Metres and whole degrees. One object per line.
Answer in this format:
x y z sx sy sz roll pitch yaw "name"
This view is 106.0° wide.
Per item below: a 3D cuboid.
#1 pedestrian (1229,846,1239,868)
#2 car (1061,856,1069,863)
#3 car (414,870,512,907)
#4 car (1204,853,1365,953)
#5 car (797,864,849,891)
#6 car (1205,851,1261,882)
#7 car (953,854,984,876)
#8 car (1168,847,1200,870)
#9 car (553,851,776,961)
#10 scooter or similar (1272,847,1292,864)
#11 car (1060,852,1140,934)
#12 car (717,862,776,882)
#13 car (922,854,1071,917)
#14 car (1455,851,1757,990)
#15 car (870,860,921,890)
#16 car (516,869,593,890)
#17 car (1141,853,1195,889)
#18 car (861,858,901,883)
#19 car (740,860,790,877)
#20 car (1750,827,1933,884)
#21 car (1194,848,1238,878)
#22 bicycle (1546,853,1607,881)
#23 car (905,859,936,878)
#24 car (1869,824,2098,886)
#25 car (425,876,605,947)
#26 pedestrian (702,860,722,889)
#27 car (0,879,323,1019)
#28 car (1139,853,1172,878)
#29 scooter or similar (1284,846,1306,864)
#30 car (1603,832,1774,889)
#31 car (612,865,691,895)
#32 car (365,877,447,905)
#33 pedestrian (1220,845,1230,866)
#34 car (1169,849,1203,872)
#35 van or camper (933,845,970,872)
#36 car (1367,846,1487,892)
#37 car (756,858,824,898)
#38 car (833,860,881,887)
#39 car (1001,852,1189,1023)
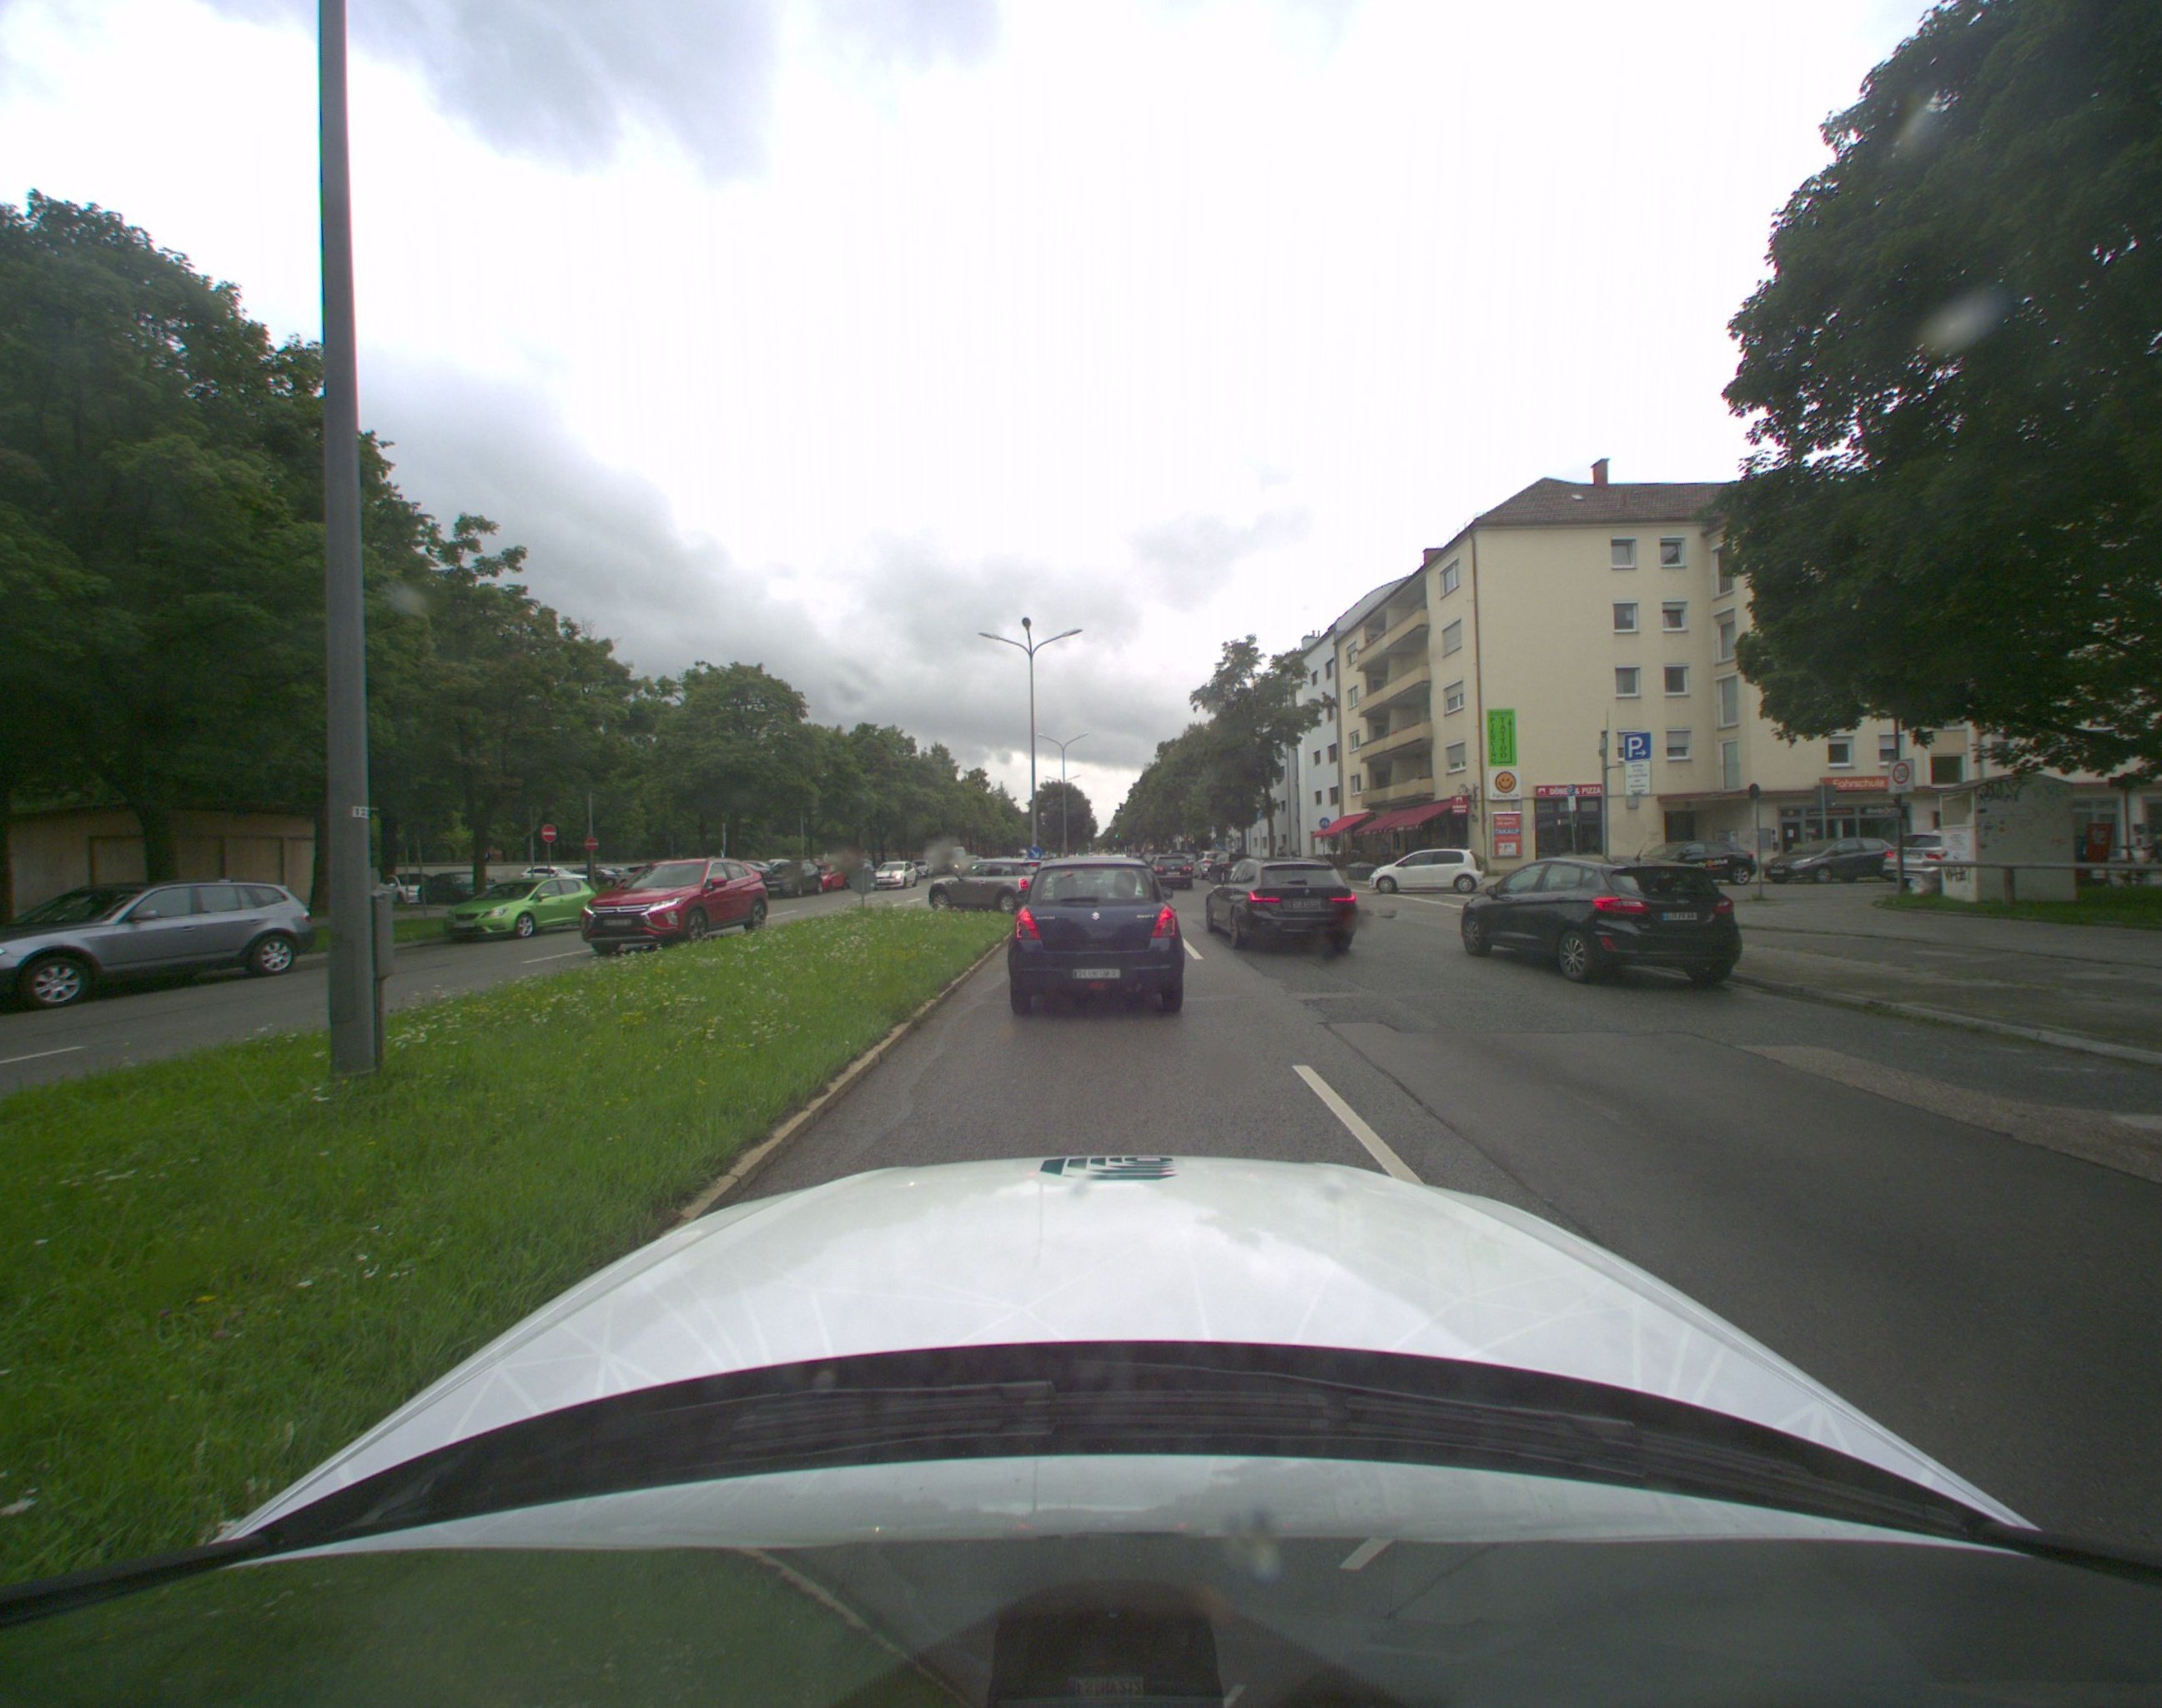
14.634 0.283 77.825 0.791 2.013 1.006 -1 0 2 "pedestrian"
-3.764 1.207 188.276 1.627 1.552 3.879 -1 0 1 "car"
-26.403 1.428 34.772 4.363 1.445 1.973 -1 -1 33 "car"
3.270 0.707 13.978 1.752 1.413 4.464 0 0 1 "car"
-13.540 1.220 42.927 1.585 1.312 3.381 -1 0 1 "car"
7.595 0.581 41.017 1.860 1.417 4.221 -2 0 -2 "car"
-9.194 0.906 66.999 1.760 1.623 4.507 -3 0 1 "car"
8.037 0.323 63.910 1.860 1.682 4.223 -2 0 0 "car"
-7.720 0.859 15.656 1.897 1.696 4.247 -4 0 2 "car"
16.508 0.097 67.034 1.029 1.307 2.756 -2 0 2 "scooter or similar"
0.366 0.714 16.628 1.439 1.483 3.106 -1 0 0 "car"
-25.676 1.390 62.616 3.859 1.445 1.670 -1 0 -4 "car"
-2.249 0.780 21.211 3.686 1.463 1.698 -1 0 38 "car"
6.434 0.708 10.509 1.611 1.465 3.675 0 0 1 "car"
-9.617 1.068 42.446 1.613 1.375 3.838 -3 0 1 "car"
-37.905 1.828 58.725 4.489 1.476 1.673 -1 -1 1 "car"
3.653 0.674 34.730 1.726 1.432 4.439 0 0 -2 "car"
-13.044 1.039 53.336 1.585 1.558 3.879 -1 0 1 "car"
-28.926 1.327 74.615 3.859 1.445 1.670 -1 0 -4 "car"
25.162 0.034 27.043 4.381 1.661 1.870 -2 0 -2 "car"
7.514 0.479 45.796 1.786 1.558 4.225 -2 0 1 "car"
17.745 0.459 29.187 1.841 0.957 0.557 -1 0 0 "bicycle"
-12.795 1.159 65.048 1.627 1.431 3.879 -1 0 1 "car"
25.275 0.041 22.918 4.379 1.661 1.871 0 -1 0 "car"
-13.999 1.353 20.431 1.541 1.409 3.883 -3 0 4 "car"
-19.936 1.121 44.000 0.725 1.534 0.721 -1 0 2 "pedestrian"
-14.210 1.285 12.098 1.685 1.586 4.371 -3 0 1 "car"
4.414 0.662 48.563 1.676 1.383 3.919 0 0 1 "car"
16.650 0.089 63.453 1.029 1.307 2.756 -2 0 2 "scooter or similar"
20.186 0.205 27.183 4.383 1.661 1.869 -2 0 -4 "car"
-26.300 1.574 49.998 3.911 1.718 1.670 -1 0 -4 "car"
-31.209 1.669 37.611 4.363 1.201 1.683 -1 -1 33 "car"
13.751 0.150 77.834 0.791 2.013 1.006 -1 0 2 "pedestrian"
7.545 0.454 59.064 1.860 1.517 4.223 -2 0 0 "car"
-12.519 0.473 79.236 2.108 2.482 7.453 -1 0 2 "van or camper"
11.584 0.496 27.272 3.515 1.417 1.883 -2 0 27 "car"
-13.473 1.064 37.881 1.711 1.741 3.879 -1 0 1 "car"
-13.125 1.115 47.920 1.661 1.445 3.879 -1 0 1 "car"
0.147 0.752 9.337 1.676 1.502 3.919 -1 0 0 "car"
